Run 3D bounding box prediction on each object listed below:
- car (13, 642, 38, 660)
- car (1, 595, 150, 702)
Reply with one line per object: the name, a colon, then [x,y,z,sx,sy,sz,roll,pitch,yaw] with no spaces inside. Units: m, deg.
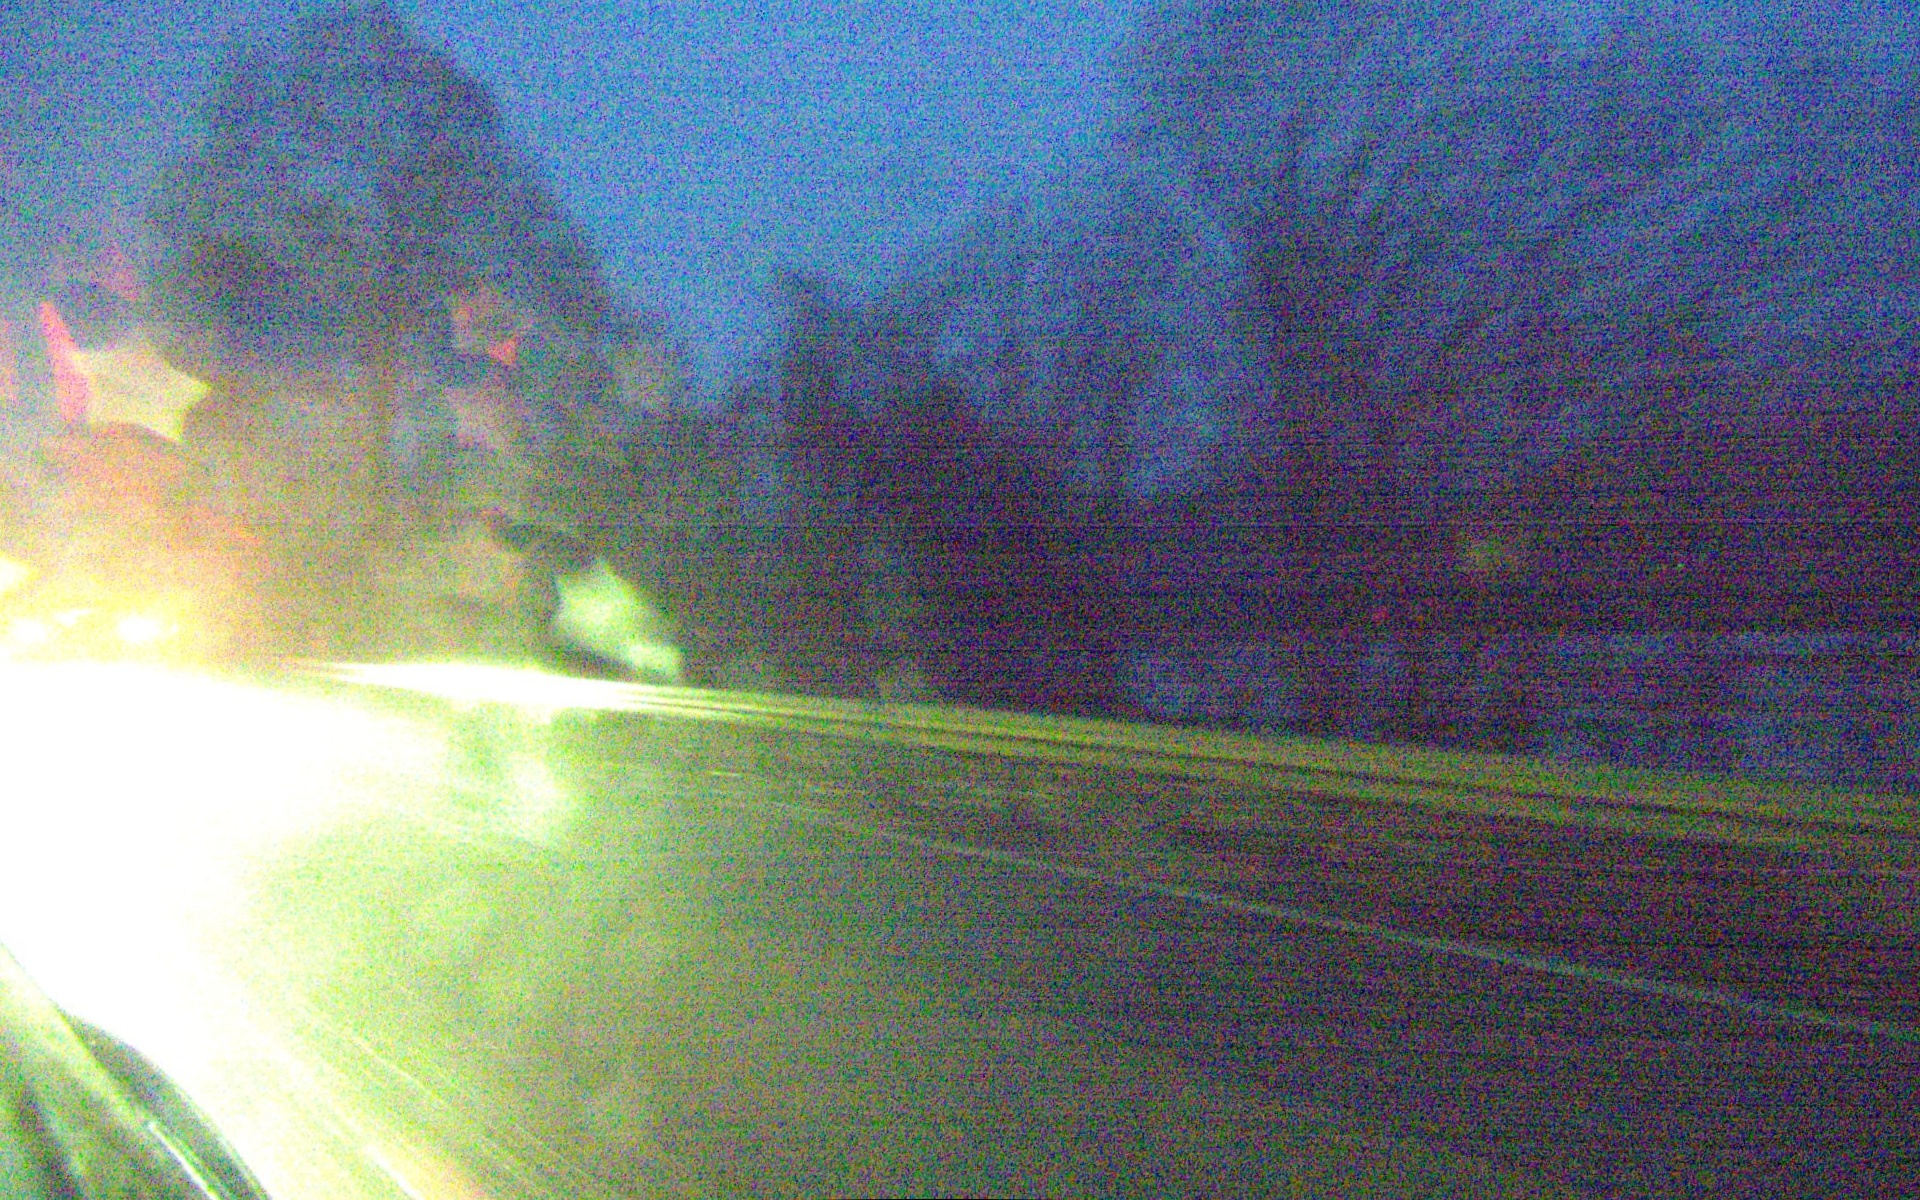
car: [-84.807,4.618,91.888,1.575,1.522,3.604,2,-4,-42]
car: [-18.873,0.991,21.523,4.457,2.029,1.971,-2,-2,44]
